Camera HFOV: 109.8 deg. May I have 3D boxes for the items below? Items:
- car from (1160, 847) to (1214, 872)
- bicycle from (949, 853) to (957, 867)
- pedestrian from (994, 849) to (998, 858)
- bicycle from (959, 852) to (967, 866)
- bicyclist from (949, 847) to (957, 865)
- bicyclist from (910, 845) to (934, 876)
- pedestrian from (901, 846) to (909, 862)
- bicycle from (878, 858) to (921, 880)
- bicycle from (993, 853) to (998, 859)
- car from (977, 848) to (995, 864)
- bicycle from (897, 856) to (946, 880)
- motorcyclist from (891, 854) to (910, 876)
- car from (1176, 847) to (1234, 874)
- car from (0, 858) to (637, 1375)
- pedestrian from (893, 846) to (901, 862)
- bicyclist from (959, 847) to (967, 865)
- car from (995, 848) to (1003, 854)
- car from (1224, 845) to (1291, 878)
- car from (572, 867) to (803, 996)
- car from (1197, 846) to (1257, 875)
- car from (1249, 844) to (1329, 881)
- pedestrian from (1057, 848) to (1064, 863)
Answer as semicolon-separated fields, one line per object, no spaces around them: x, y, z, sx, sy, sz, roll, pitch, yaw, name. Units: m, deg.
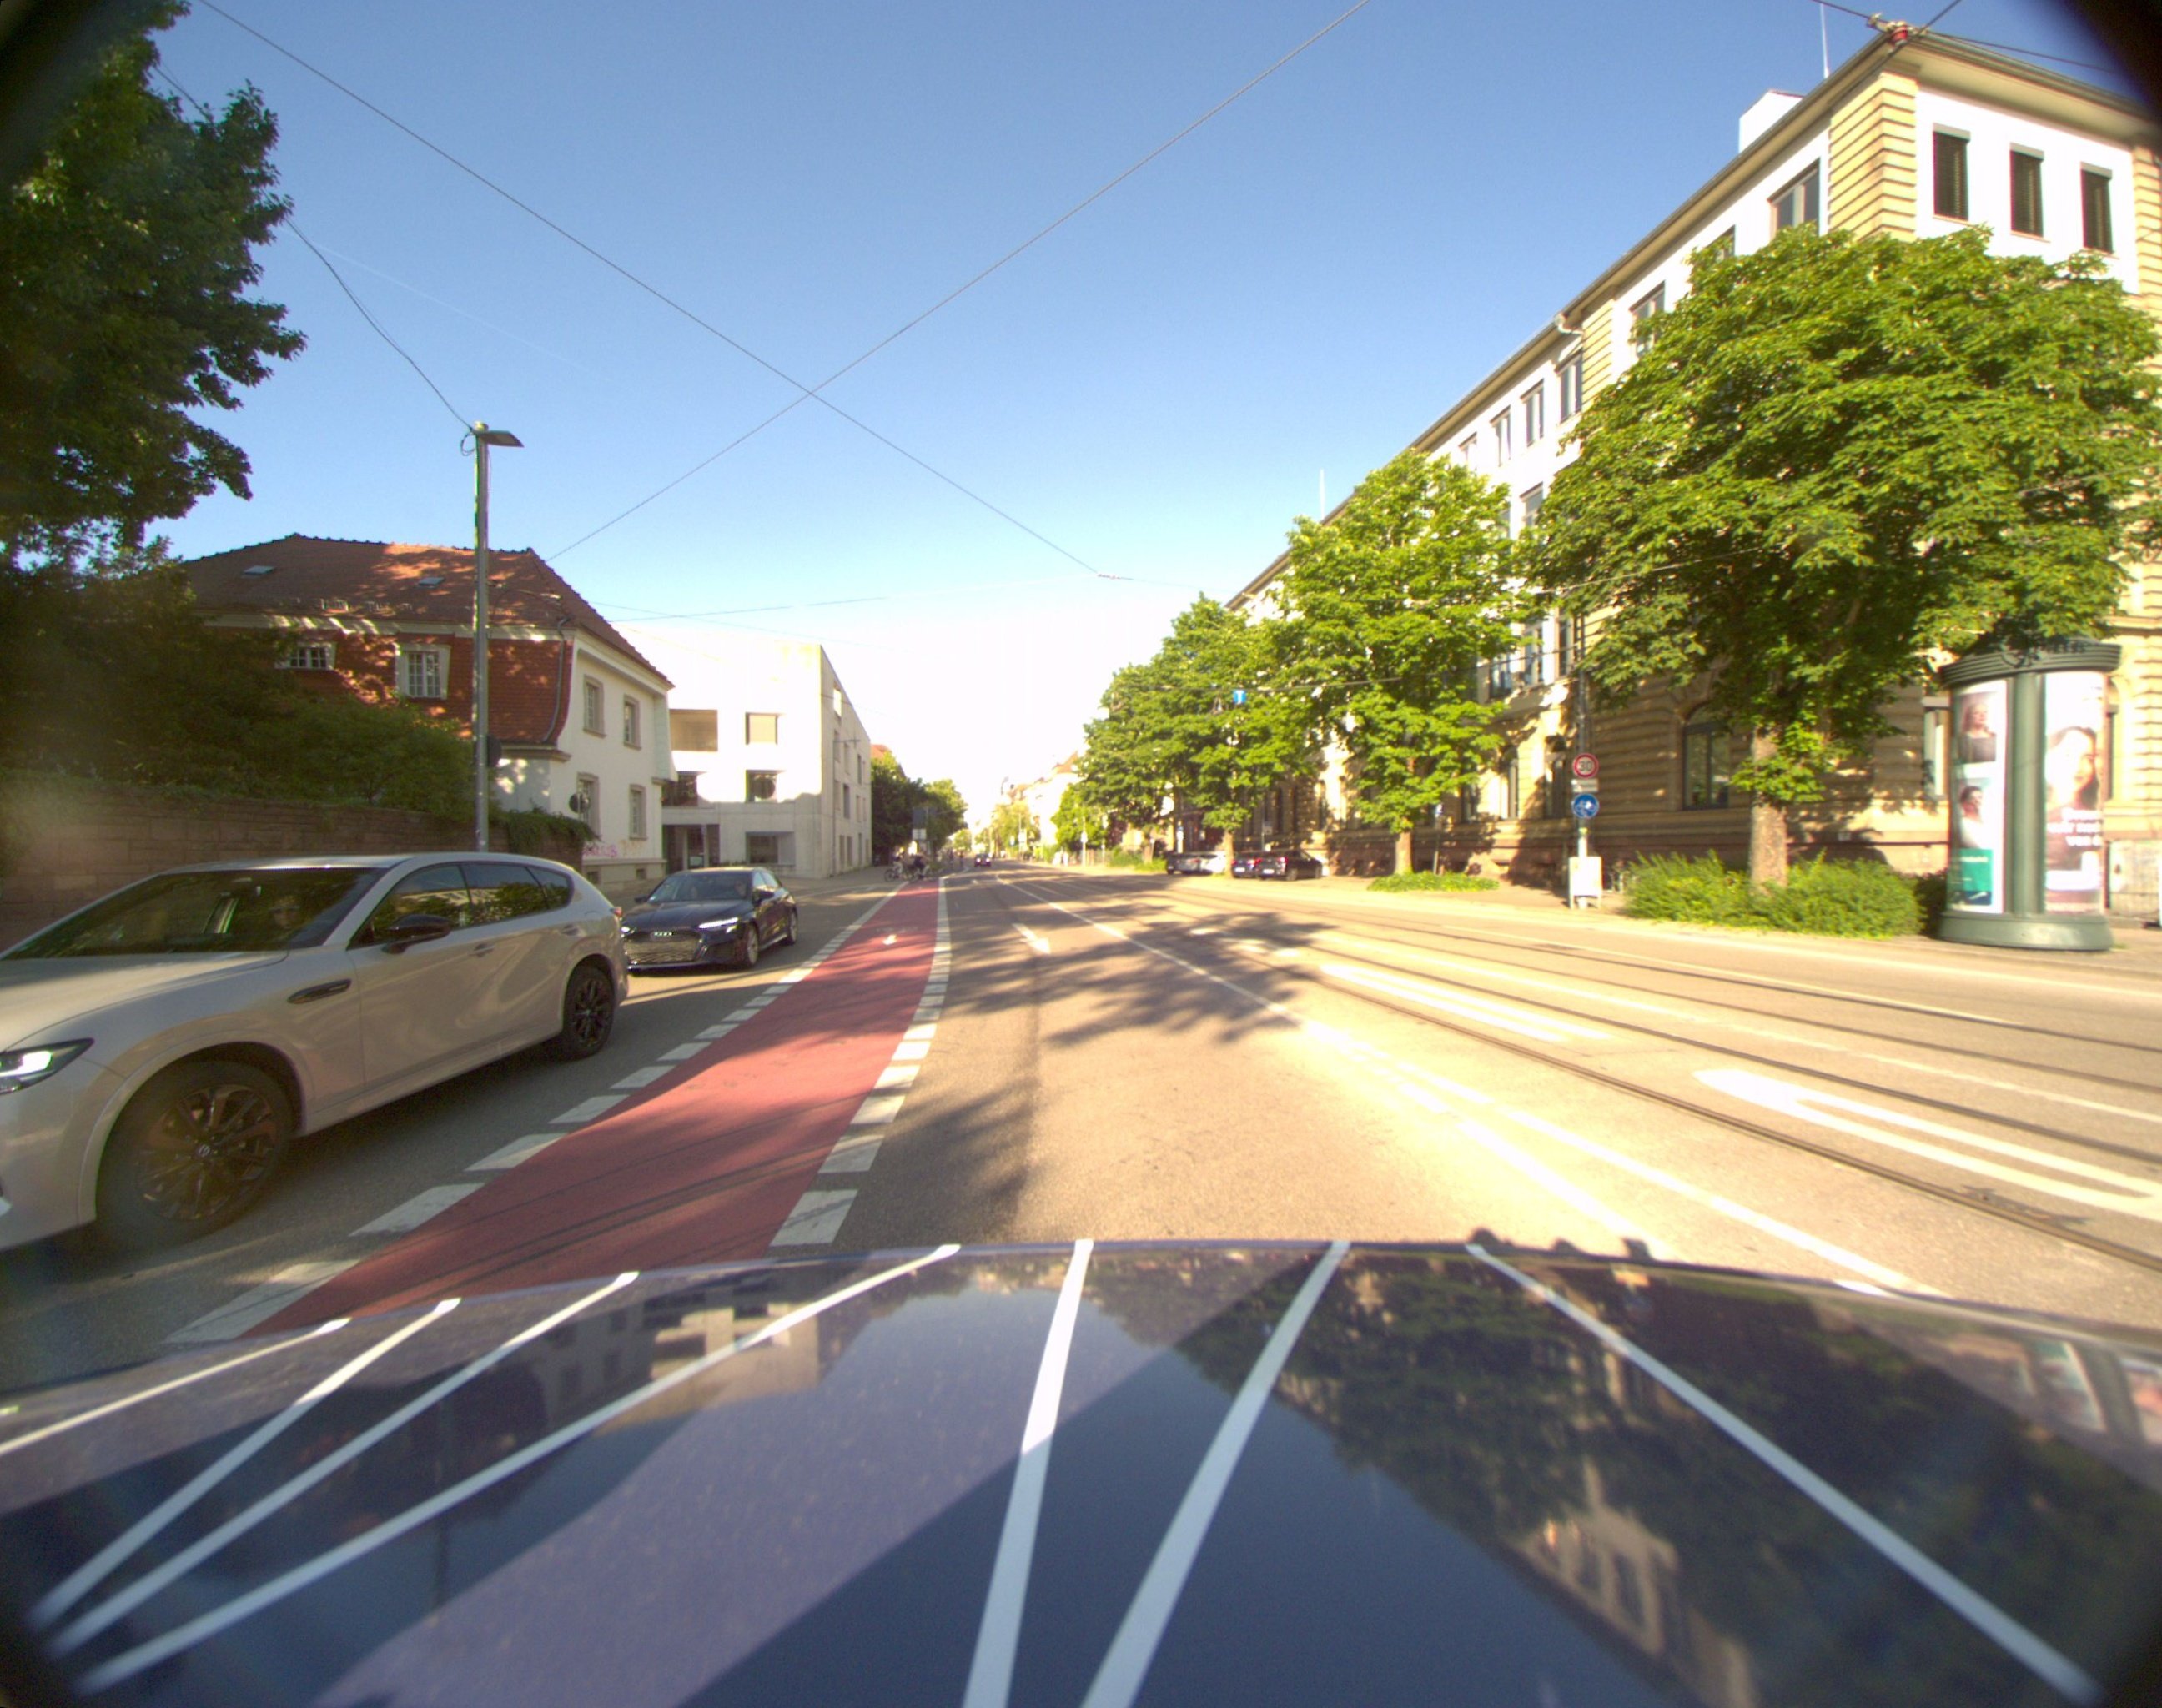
7.237;0.354;51.768;3.657;1.552;1.645;-3;1;-43;car
-11.810;0.523;70.286;0.676;1.243;2.454;0;1;-8;bicycle
-16.746;-0.075;149.507;0.675;1.638;0.817;-1;1;0;pedestrian
-10.850;0.453;69.958;0.676;1.243;2.454;0;1;-8;bicycle
-11.810;0.141;70.256;0.676;1.638;1.028;0;1;-8;bicyclist
-8.359;0.338;39.845;1.031;1.638;0.674;-1;1;-37;bicyclist
-18.044;0.007;77.905;0.676;1.638;0.817;-1;1;-9;pedestrian
-10.469;0.841;43.910;0.674;1.243;2.462;1;1;44;bicycle
-16.738;0.380;149.507;0.676;1.243;2.456;-1;1;0;bicycle
-9.896;0.184;79.358;1.649;1.552;3.648;-2;1;-5;car
-8.342;0.715;39.862;2.461;1.243;0.674;-1;1;-37;bicycle
-10.441;0.625;43.922;0.674;1.243;0.855;1;1;44;motorcyclist
7.913;0.382;48.357;3.657;1.552;1.645;-3;1;-43;car
-4.806;0.934;4.470;1.946;1.682;4.529;-2;1;-5;car
-18.829;-0.021;77.697;0.676;1.638;0.817;-1;1;-9;pedestrian
-10.858;0.158;70.027;0.676;1.638;1.028;0;1;-8;bicyclist
-20.934;-0.777;192.986;1.650;1.552;3.646;-2;1;-12;car
9.420;0.384;40.411;3.657;1.552;1.645;-3;1;-43;car
-5.620;0.994;11.478;1.789;1.425;3.997;-2;1;-8;car
8.891;0.382;46.126;3.657;1.552;1.645;-3;1;-43;car
10.384;0.401;37.751;4.189;1.621;1.841;-3;1;-43;car
-2.353;0.174;85.617;0.676;1.638;0.817;-1;1;-9;pedestrian
